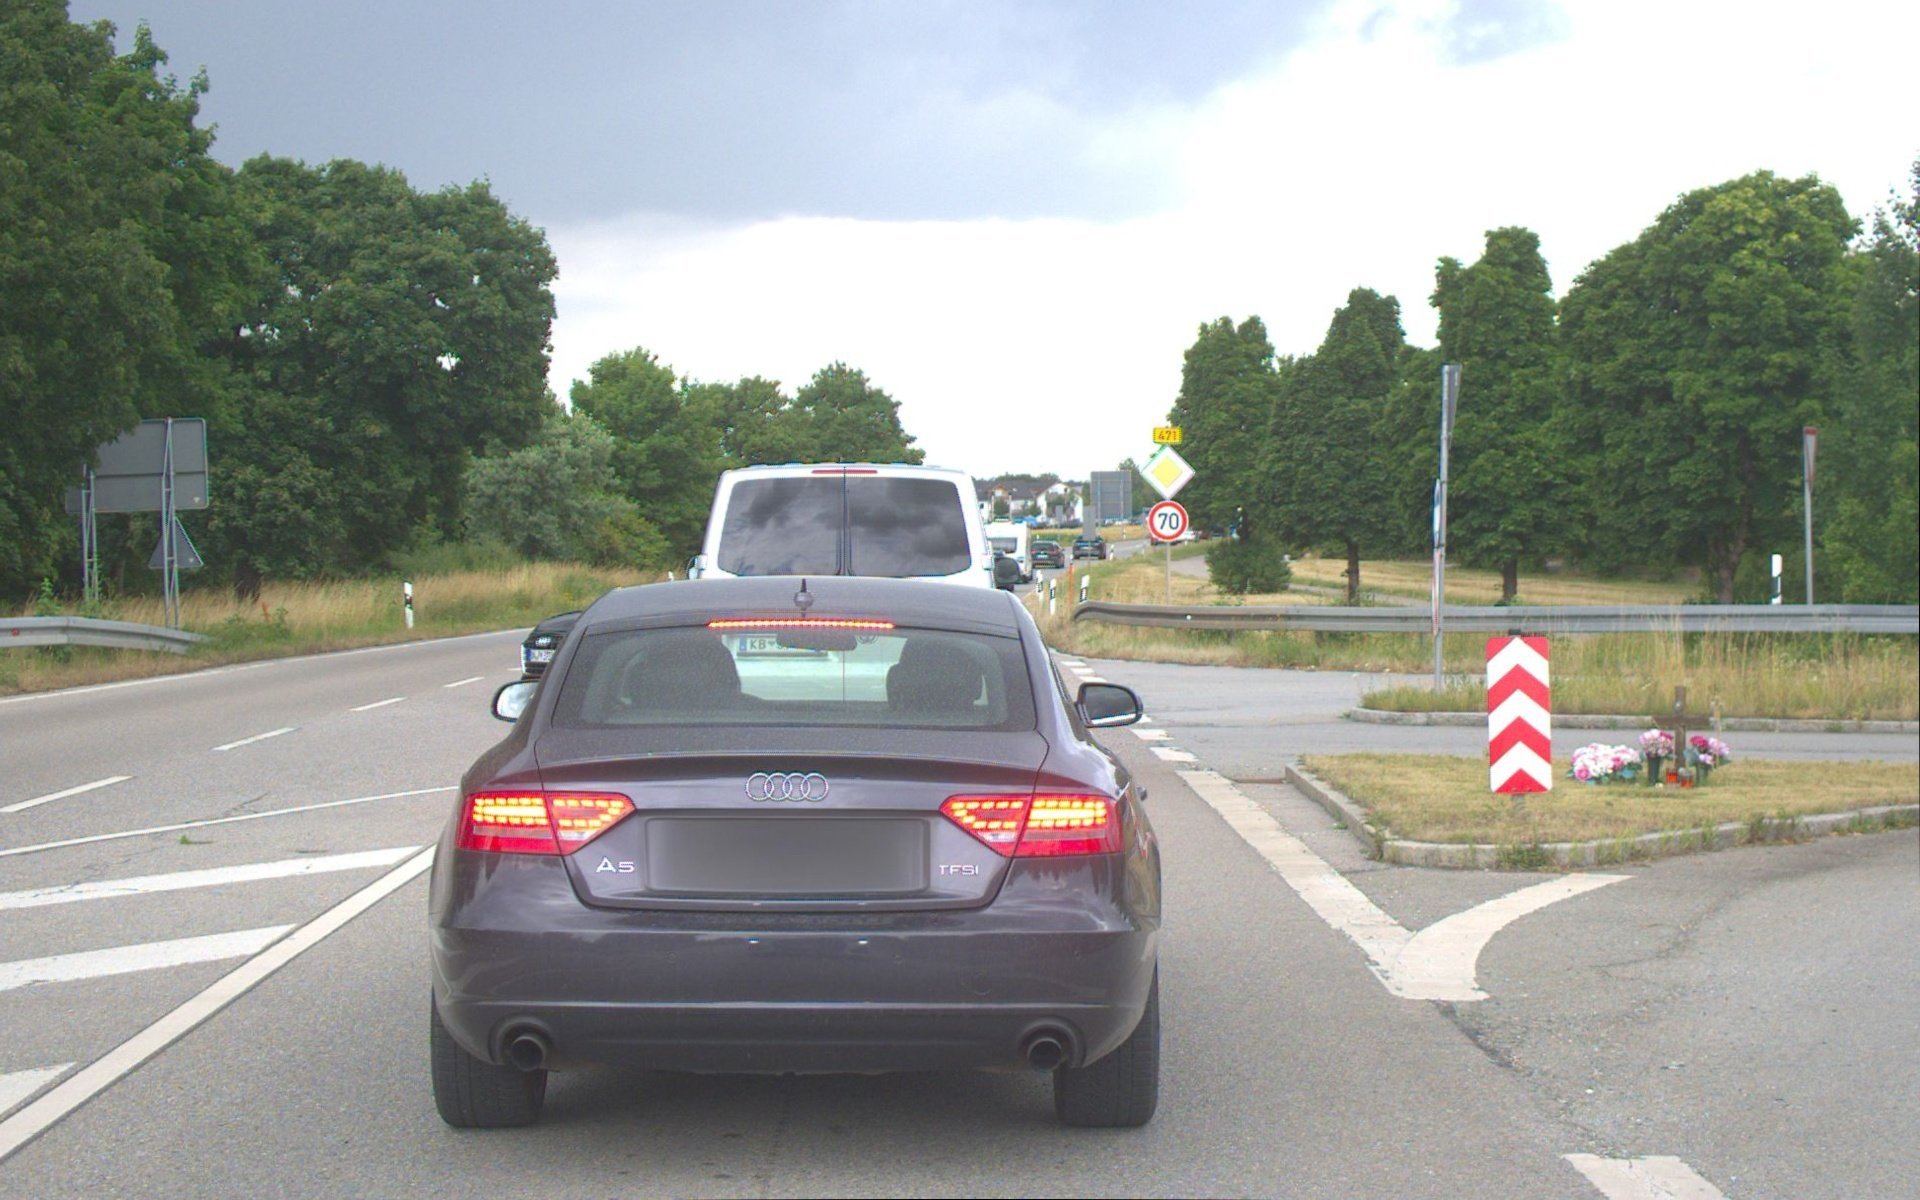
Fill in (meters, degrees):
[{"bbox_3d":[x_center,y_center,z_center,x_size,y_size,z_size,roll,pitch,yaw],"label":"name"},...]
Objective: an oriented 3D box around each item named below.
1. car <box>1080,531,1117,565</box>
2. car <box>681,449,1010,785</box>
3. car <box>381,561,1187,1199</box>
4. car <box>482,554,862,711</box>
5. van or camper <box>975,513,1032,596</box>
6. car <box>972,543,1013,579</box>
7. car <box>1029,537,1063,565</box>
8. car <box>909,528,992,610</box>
[{"bbox_3d":[8.365,-3.153,208.242,1.993,2.007,4.000,0,1,-1],"label":"car"},{"bbox_3d":[-0.667,0.051,21.437,1.838,1.876,4.000,1,1,-1],"label":"car"},{"bbox_3d":[-0.415,0.611,9.671,1.783,1.372,4.000,1,1,-1],"label":"car"},{"bbox_3d":[-2.646,0.253,32.793,1.822,1.369,4.606,0,1,21],"label":"car"},{"bbox_3d":[1.882,-1.952,147.257,2.340,3.469,5.718,0,1,2],"label":"van or camper"},{"bbox_3d":[1.236,-1.471,130.667,1.258,1.349,3.465,0,1,5],"label":"car"},{"bbox_3d":[4.515,-2.568,180.892,1.719,1.446,4.000,1,1,1],"label":"car"},{"bbox_3d":[-0.222,-0.826,89.923,1.994,2.081,4.000,0,1,2],"label":"car"}]
